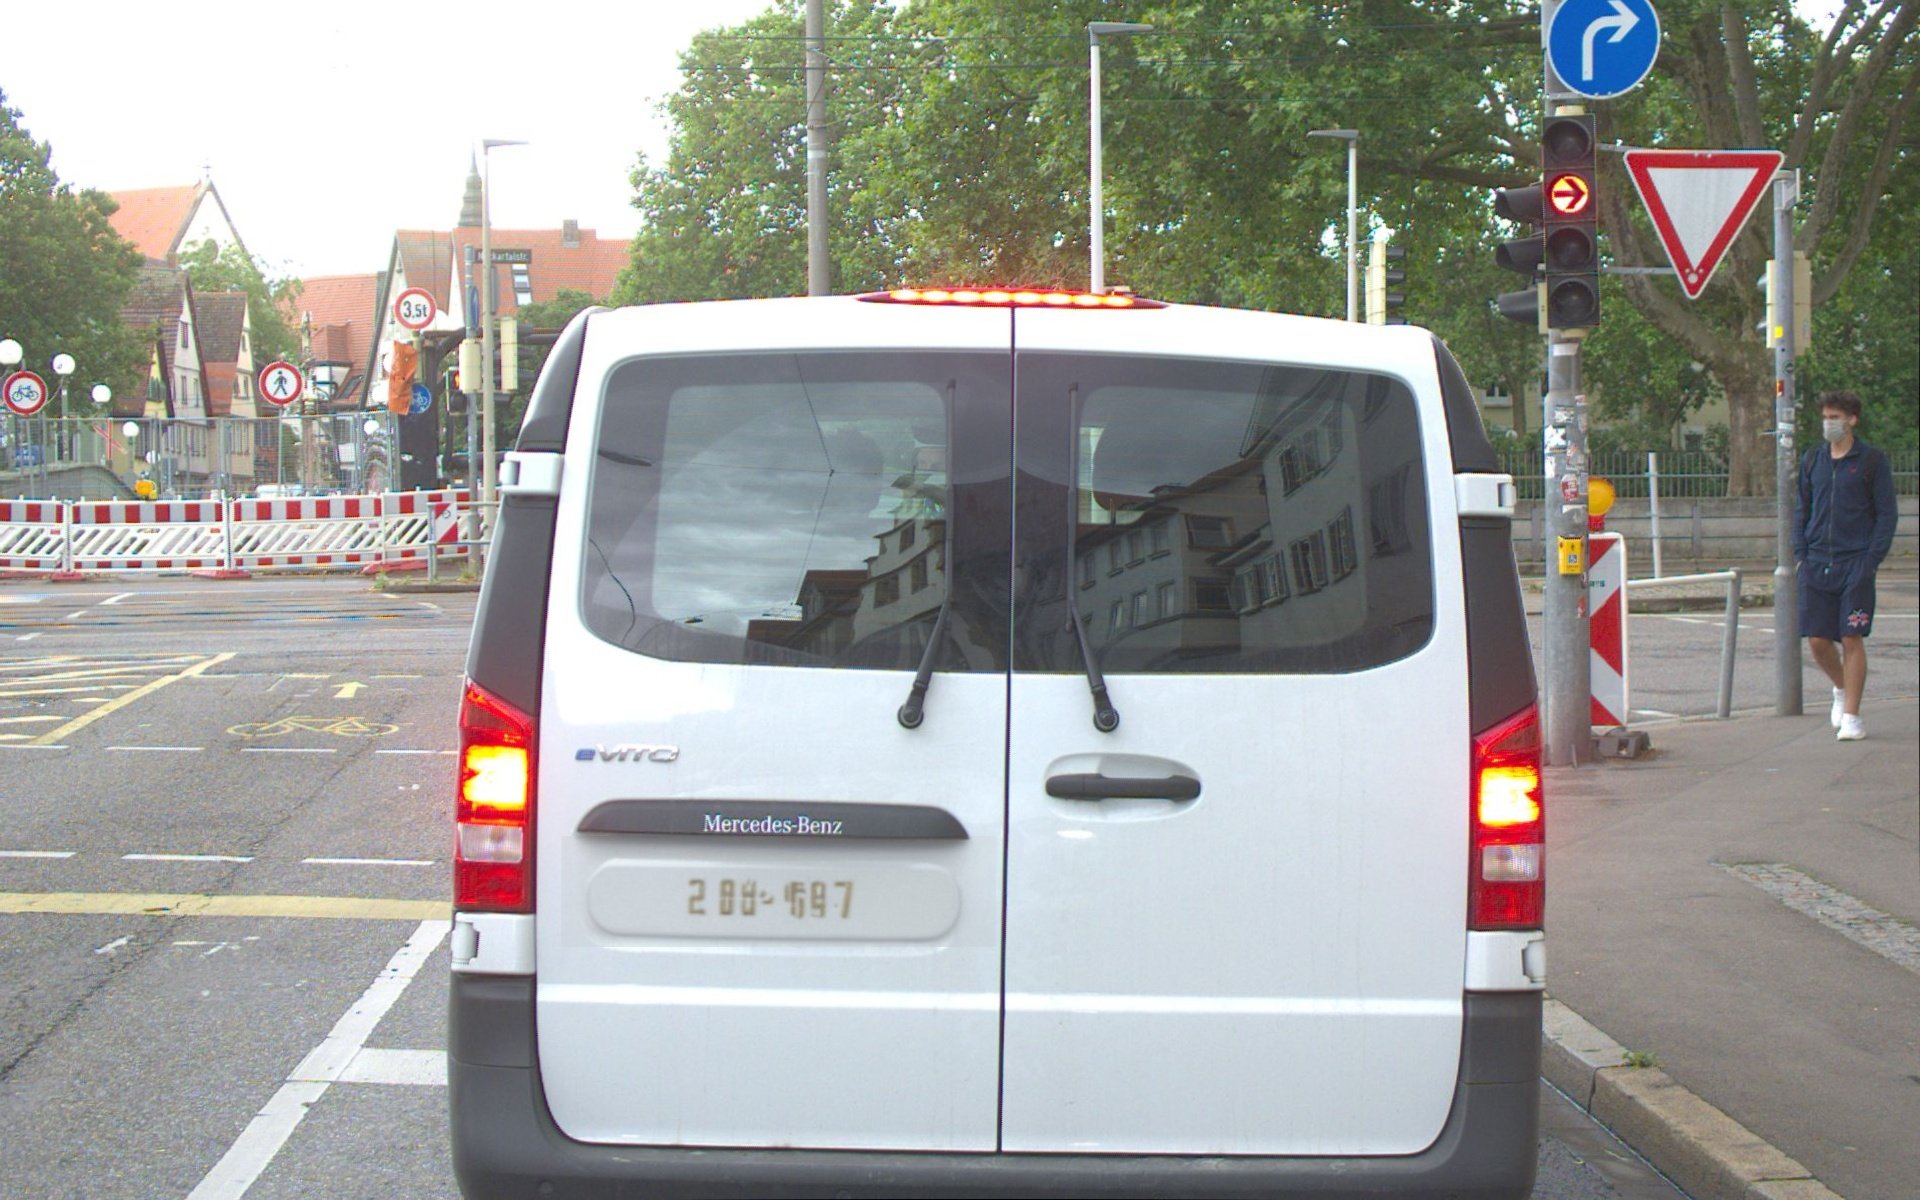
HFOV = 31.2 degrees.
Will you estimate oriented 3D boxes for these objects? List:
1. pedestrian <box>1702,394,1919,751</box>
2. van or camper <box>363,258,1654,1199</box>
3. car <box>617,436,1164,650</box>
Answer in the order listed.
[{"bbox_3d":[4.675,-0.165,18.463,1.149,1.850,0.679,-3,2,-30],"label":"pedestrian"},{"bbox_3d":[-0.065,0.350,7.433,1.937,1.918,4.442,1,3,-4],"label":"van or camper"},{"bbox_3d":[-0.579,-0.497,27.994,4.272,1.569,1.872,-1,3,-3],"label":"car"}]
